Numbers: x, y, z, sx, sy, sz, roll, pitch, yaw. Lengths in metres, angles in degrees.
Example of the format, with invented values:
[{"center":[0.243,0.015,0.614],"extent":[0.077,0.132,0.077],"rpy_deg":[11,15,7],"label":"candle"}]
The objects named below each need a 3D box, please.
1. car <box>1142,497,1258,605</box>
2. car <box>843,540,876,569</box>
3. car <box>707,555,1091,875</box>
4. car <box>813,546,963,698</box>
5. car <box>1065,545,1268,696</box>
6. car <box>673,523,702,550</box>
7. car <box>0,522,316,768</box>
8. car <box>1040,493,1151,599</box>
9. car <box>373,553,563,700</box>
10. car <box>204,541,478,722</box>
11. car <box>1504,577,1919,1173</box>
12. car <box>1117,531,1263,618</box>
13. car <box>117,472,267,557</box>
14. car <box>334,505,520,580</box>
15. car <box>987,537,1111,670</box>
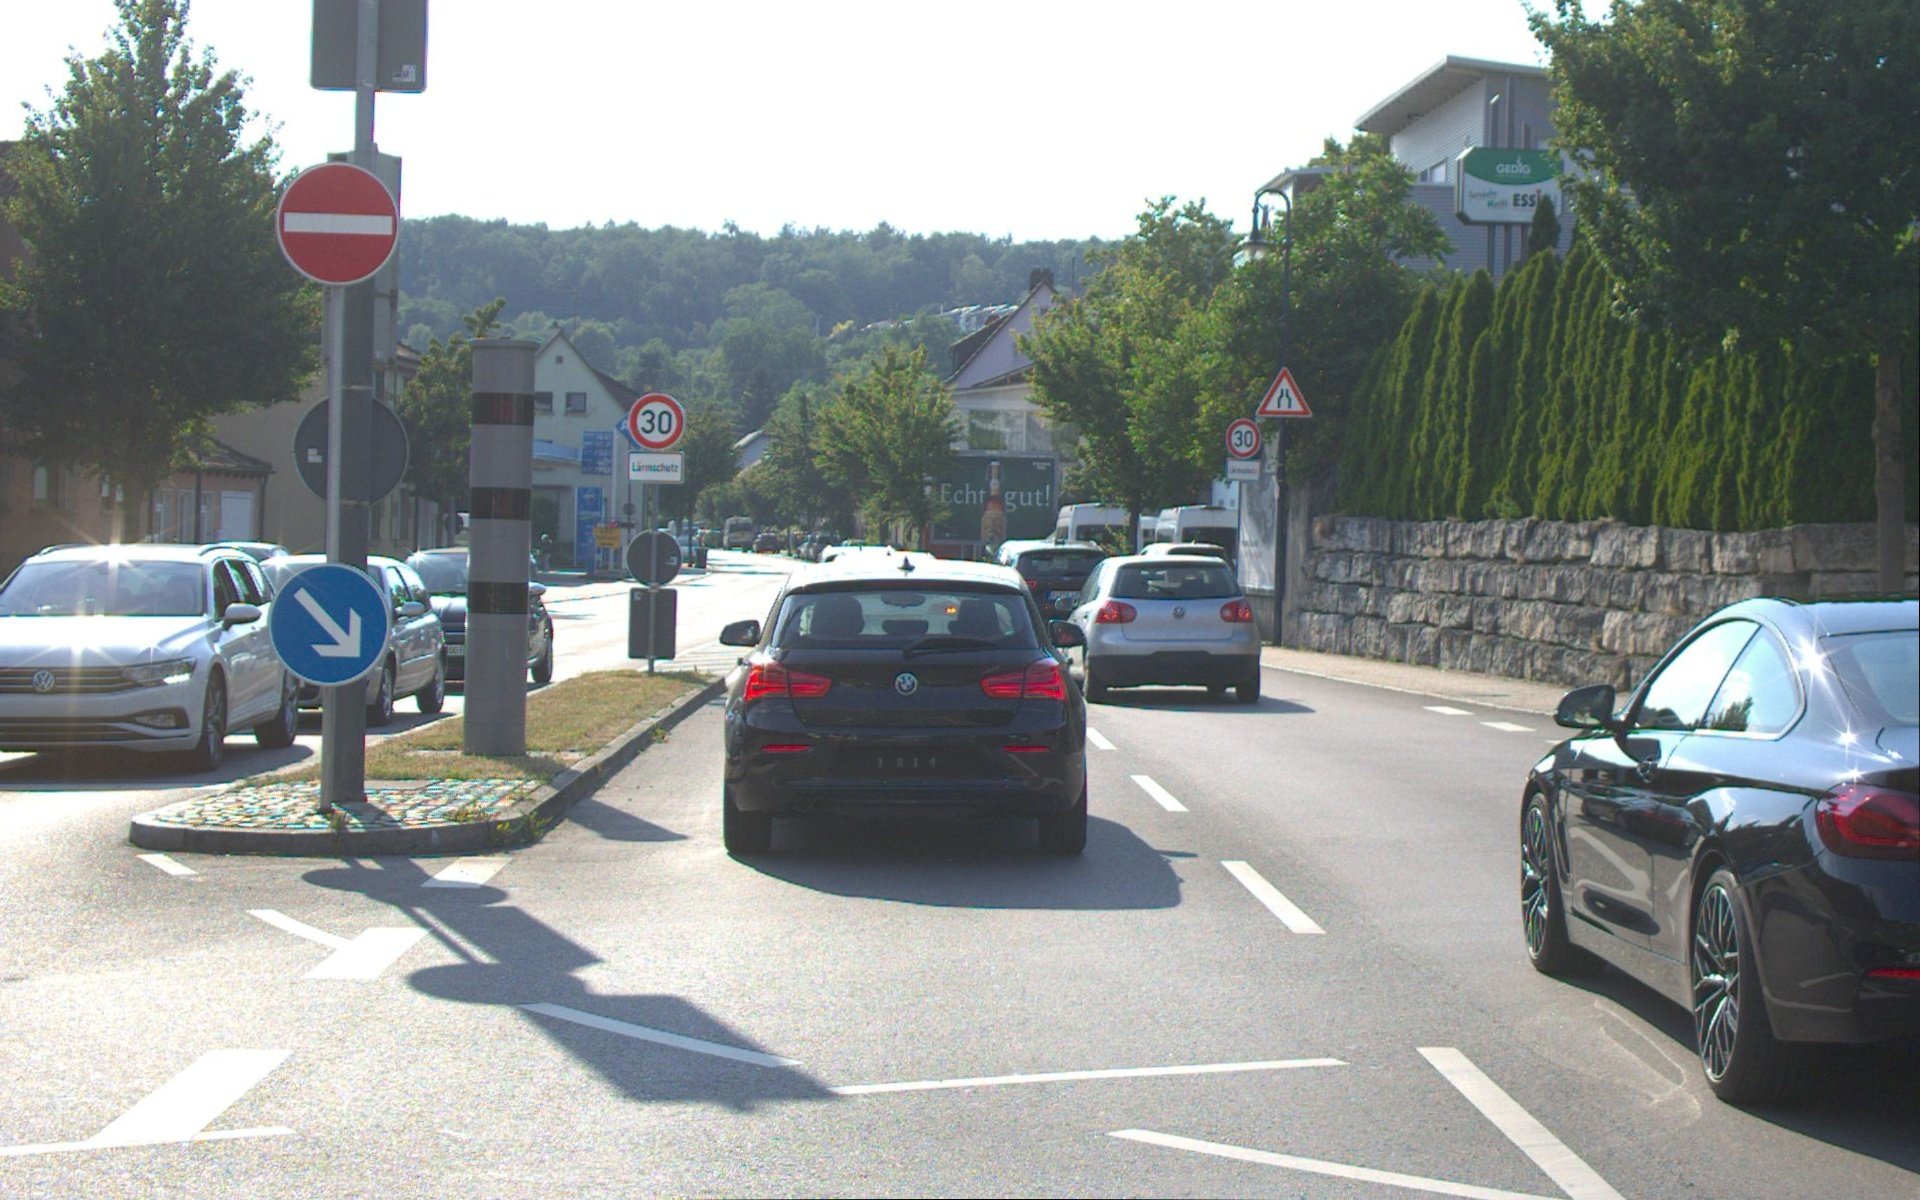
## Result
[{"center":[6.298,-1.333,90.955],"extent":[2.111,2.712,6.444],"rpy_deg":[1,1,-4],"label":"car"},{"center":[-5.468,-2.483,186.668],"extent":[1.596,1.480,3.475],"rpy_deg":[2,1,-4],"label":"car"},{"center":[-0.327,0.509,17.642],"extent":[1.771,1.451,3.516],"rpy_deg":[0,1,-2],"label":"car"},{"center":[-0.832,0.207,39.013],"extent":[1.591,1.595,3.894],"rpy_deg":[1,1,-2],"label":"car"},{"center":[2.048,0.173,34.966],"extent":[1.753,1.409,3.422],"rpy_deg":[1,1,-2],"label":"car"},{"center":[-15.749,-3.666,199.053],"extent":[1.596,1.480,3.475],"rpy_deg":[2,1,-4],"label":"car"},{"center":[-5.701,0.224,23.450],"extent":[1.835,1.483,4.567],"rpy_deg":[1,1,-1],"label":"car"},{"center":[3.522,-1.455,90.529],"extent":[2.149,2.671,6.604],"rpy_deg":[1,1,-4],"label":"car"},{"center":[-5.255,0.251,37.064],"extent":[1.532,1.457,3.506],"rpy_deg":[1,1,0],"label":"car"},{"center":[-5.182,0.232,29.178],"extent":[1.589,1.422,3.578],"rpy_deg":[1,1,1],"label":"car"},{"center":[2.858,0.657,10.462],"extent":[1.699,1.364,4.263],"rpy_deg":[0,1,0],"label":"car"},{"center":[4.542,-0.531,68.586],"extent":[1.834,1.643,4.540],"rpy_deg":[1,1,-10],"label":"car"},{"center":[-14.737,-1.611,66.120],"extent":[1.666,1.482,4.000],"rpy_deg":[4,1,4],"label":"car"},{"center":[-18.660,-2.030,120.555],"extent":[6.158,2.436,2.250],"rpy_deg":[2,1,-2],"label":"car"},{"center":[1.219,0.013,48.158],"extent":[1.603,1.761,3.411],"rpy_deg":[1,1,0],"label":"car"}]
